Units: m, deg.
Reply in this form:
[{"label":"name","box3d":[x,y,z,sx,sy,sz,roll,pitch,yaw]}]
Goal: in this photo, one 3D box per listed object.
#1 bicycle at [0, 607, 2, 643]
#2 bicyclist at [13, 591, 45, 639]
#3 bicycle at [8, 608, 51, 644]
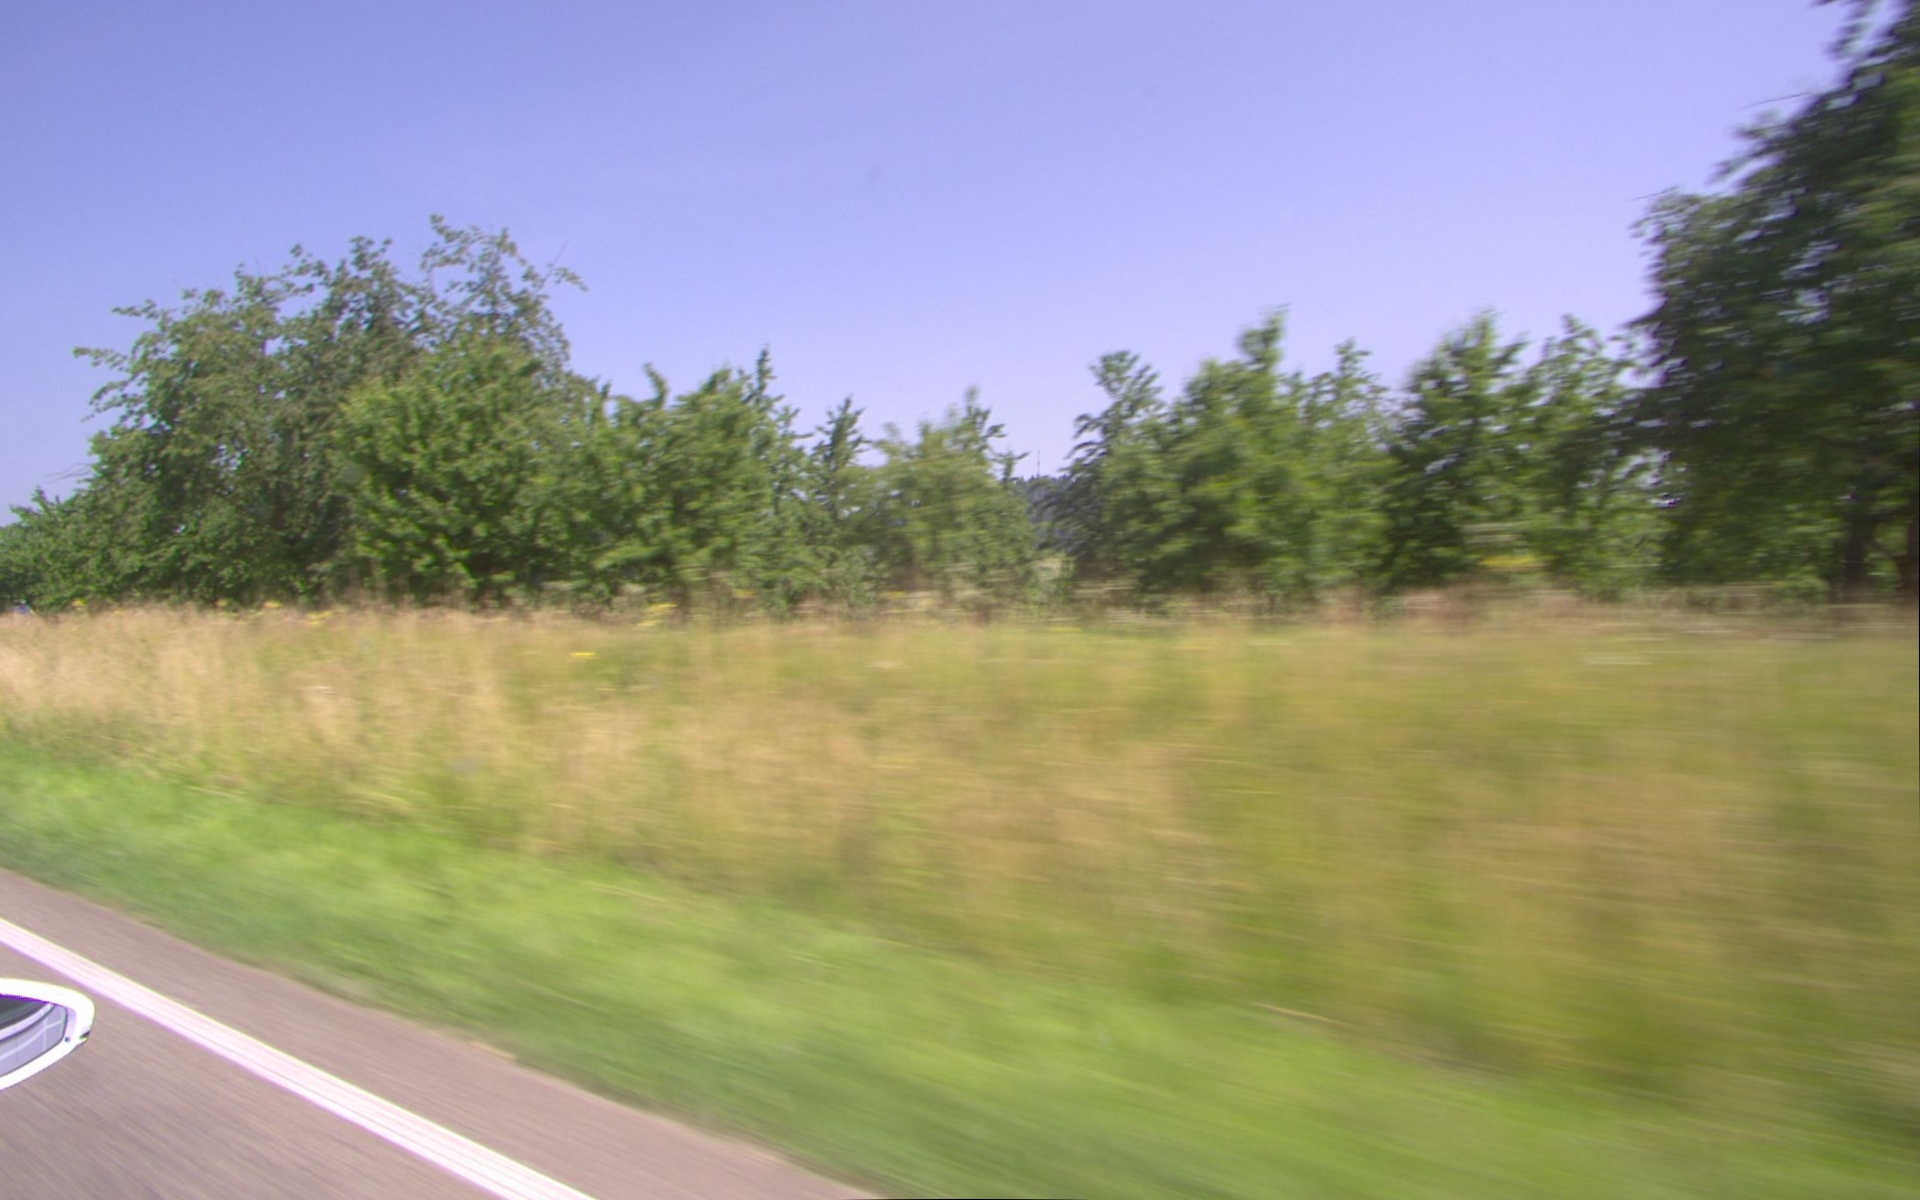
[{"label":"bicycle","box3d":[-39.287,1.023,40.152,2.189,1.437,0.748,0,1,33]},{"label":"bicyclist","box3d":[-38.359,0.597,41.275,0.816,1.955,0.748,0,1,32]},{"label":"bicycle","box3d":[-38.348,1.053,41.273,2.189,1.437,0.748,0,1,33]}]
